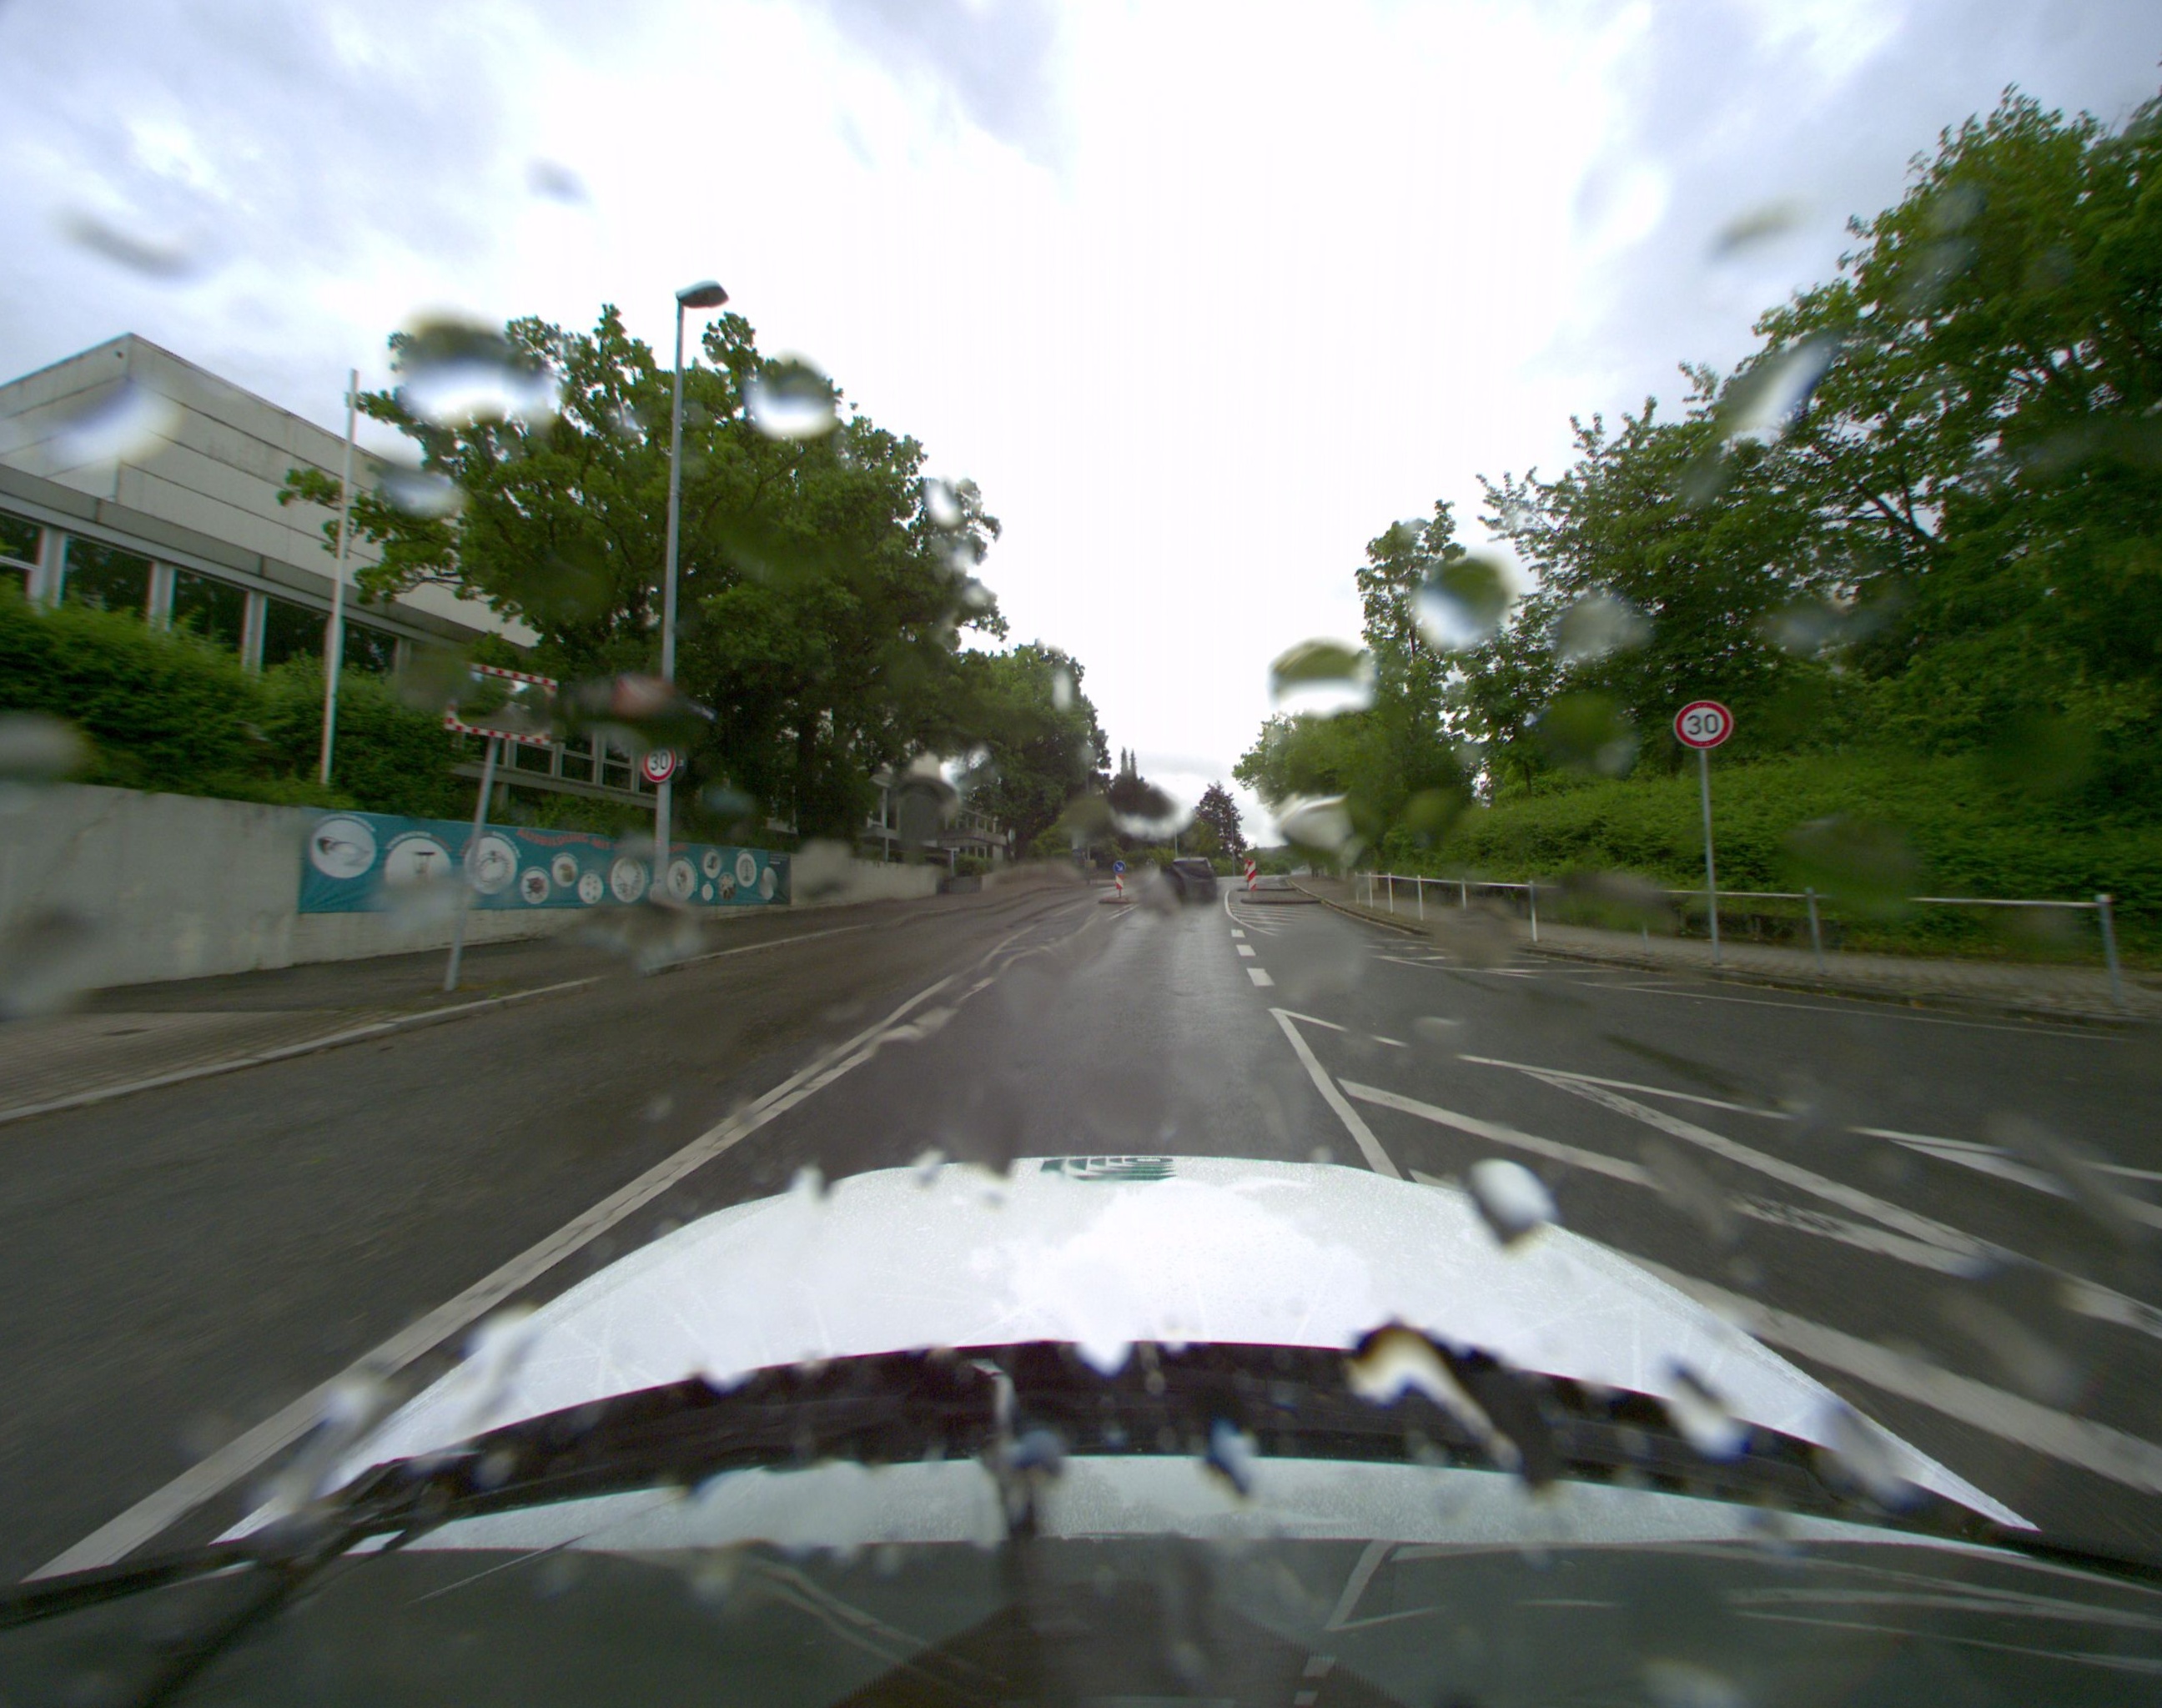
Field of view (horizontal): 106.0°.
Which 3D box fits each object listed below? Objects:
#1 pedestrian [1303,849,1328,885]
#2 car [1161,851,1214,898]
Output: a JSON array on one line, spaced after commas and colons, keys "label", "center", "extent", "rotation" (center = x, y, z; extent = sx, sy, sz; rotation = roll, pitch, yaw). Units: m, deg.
[{"label": "pedestrian", "center": [12.758, 0.722, 44.302], "extent": [1.046, 1.894, 1.134], "rotation": [-2, -3, 5]}, {"label": "car", "center": [4.224, 0.737, 31.925], "extent": [1.779, 1.603, 4.266], "rotation": [-3, 0, 10]}]
